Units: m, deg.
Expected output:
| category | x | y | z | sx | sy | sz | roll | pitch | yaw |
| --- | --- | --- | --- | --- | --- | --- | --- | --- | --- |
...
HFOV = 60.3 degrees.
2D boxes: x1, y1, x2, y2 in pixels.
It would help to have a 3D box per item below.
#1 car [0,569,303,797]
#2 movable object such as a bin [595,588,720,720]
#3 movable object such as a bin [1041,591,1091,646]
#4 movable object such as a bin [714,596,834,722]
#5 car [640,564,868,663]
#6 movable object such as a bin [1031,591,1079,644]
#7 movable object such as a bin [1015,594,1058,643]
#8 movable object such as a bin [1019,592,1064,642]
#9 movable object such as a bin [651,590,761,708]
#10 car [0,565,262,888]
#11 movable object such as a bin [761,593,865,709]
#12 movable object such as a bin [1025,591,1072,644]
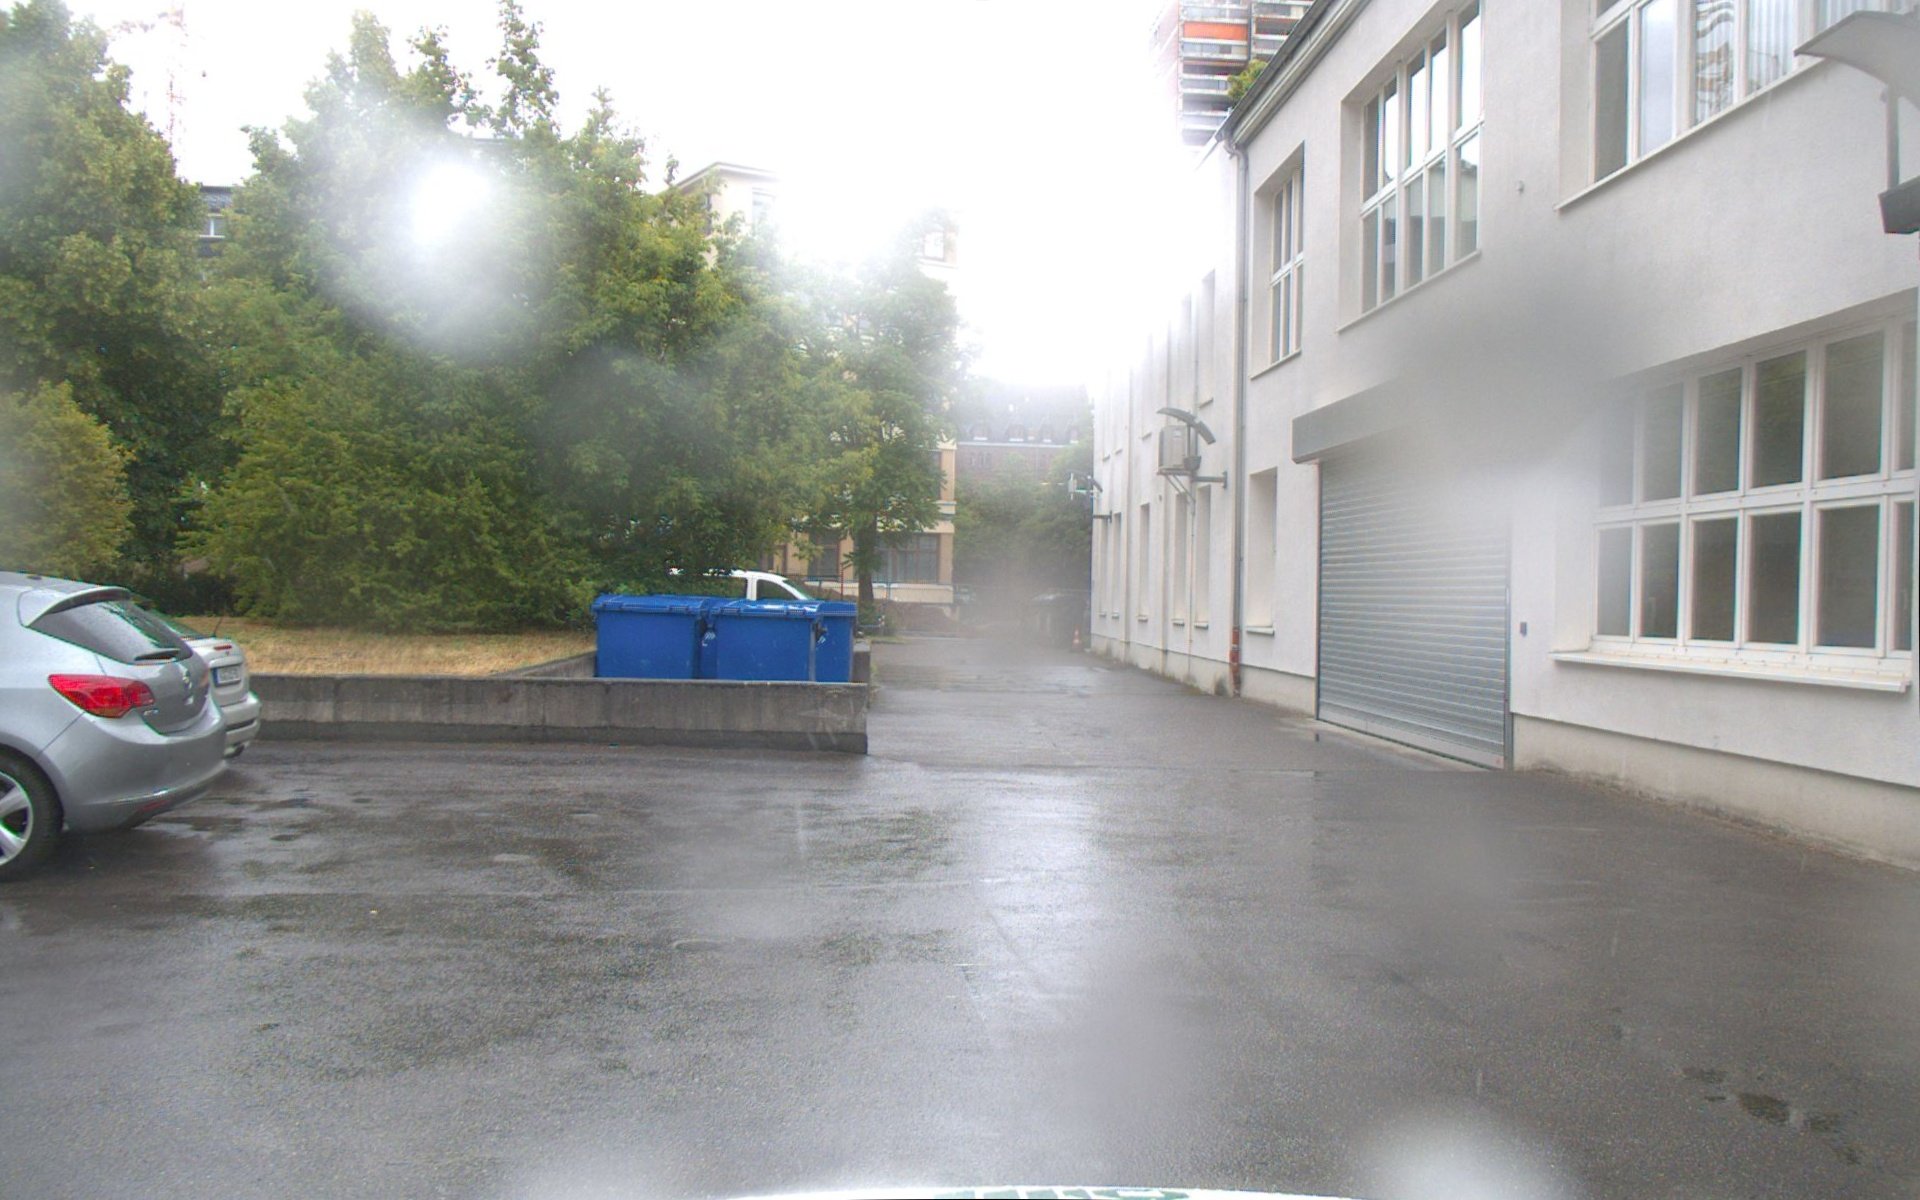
| category | x | y | z | sx | sy | sz | roll | pitch | yaw |
| --- | --- | --- | --- | --- | --- | --- | --- | --- | --- |
| car | -7.001 | 0.470 | 11.523 | 4.086 | 1.356 | 1.820 | 4 | 1 | -7 |
| movable object such as a bin | -3.370 | 0.585 | 18.557 | 1.179 | 1.360 | 1.116 | 3 | 2 | -3 |
| movable object such as a bin | 2.895 | 0.510 | 45.417 | 1.191 | 1.462 | 1.234 | 1 | -2 | -5 |
| movable object such as a bin | -2.077 | 0.644 | 18.653 | 1.178 | 1.360 | 1.117 | 1 | 0 | 1 |
| car | -4.355 | 0.275 | 35.521 | 4.684 | 2.049 | 1.999 | 0 | 1 | -2 |
| movable object such as a bin | 2.690 | 0.509 | 46.964 | 1.191 | 1.462 | 1.293 | 1 | -2 | -5 |
| movable object such as a bin | 2.375 | 0.584 | 51.472 | 1.191 | 1.462 | 1.257 | 1 | -2 | -5 |
| movable object such as a bin | 2.471 | 0.537 | 50.098 | 1.191 | 1.462 | 1.257 | 1 | -2 | -5 |
| movable object such as a bin | -3.091 | 0.581 | 20.216 | 1.197 | 1.360 | 1.006 | 1 | 1 | -3 |
| car | -6.017 | 0.563 | 8.523 | 4.087 | 1.509 | 1.819 | 1 | 1 | -9 |
| movable object such as a bin | -1.799 | 0.616 | 20.407 | 1.197 | 1.360 | 1.006 | 1 | 0 | -3 |
| movable object such as a bin | 2.604 | 0.527 | 48.728 | 1.191 | 1.494 | 1.234 | 1 | -2 | -5 |
